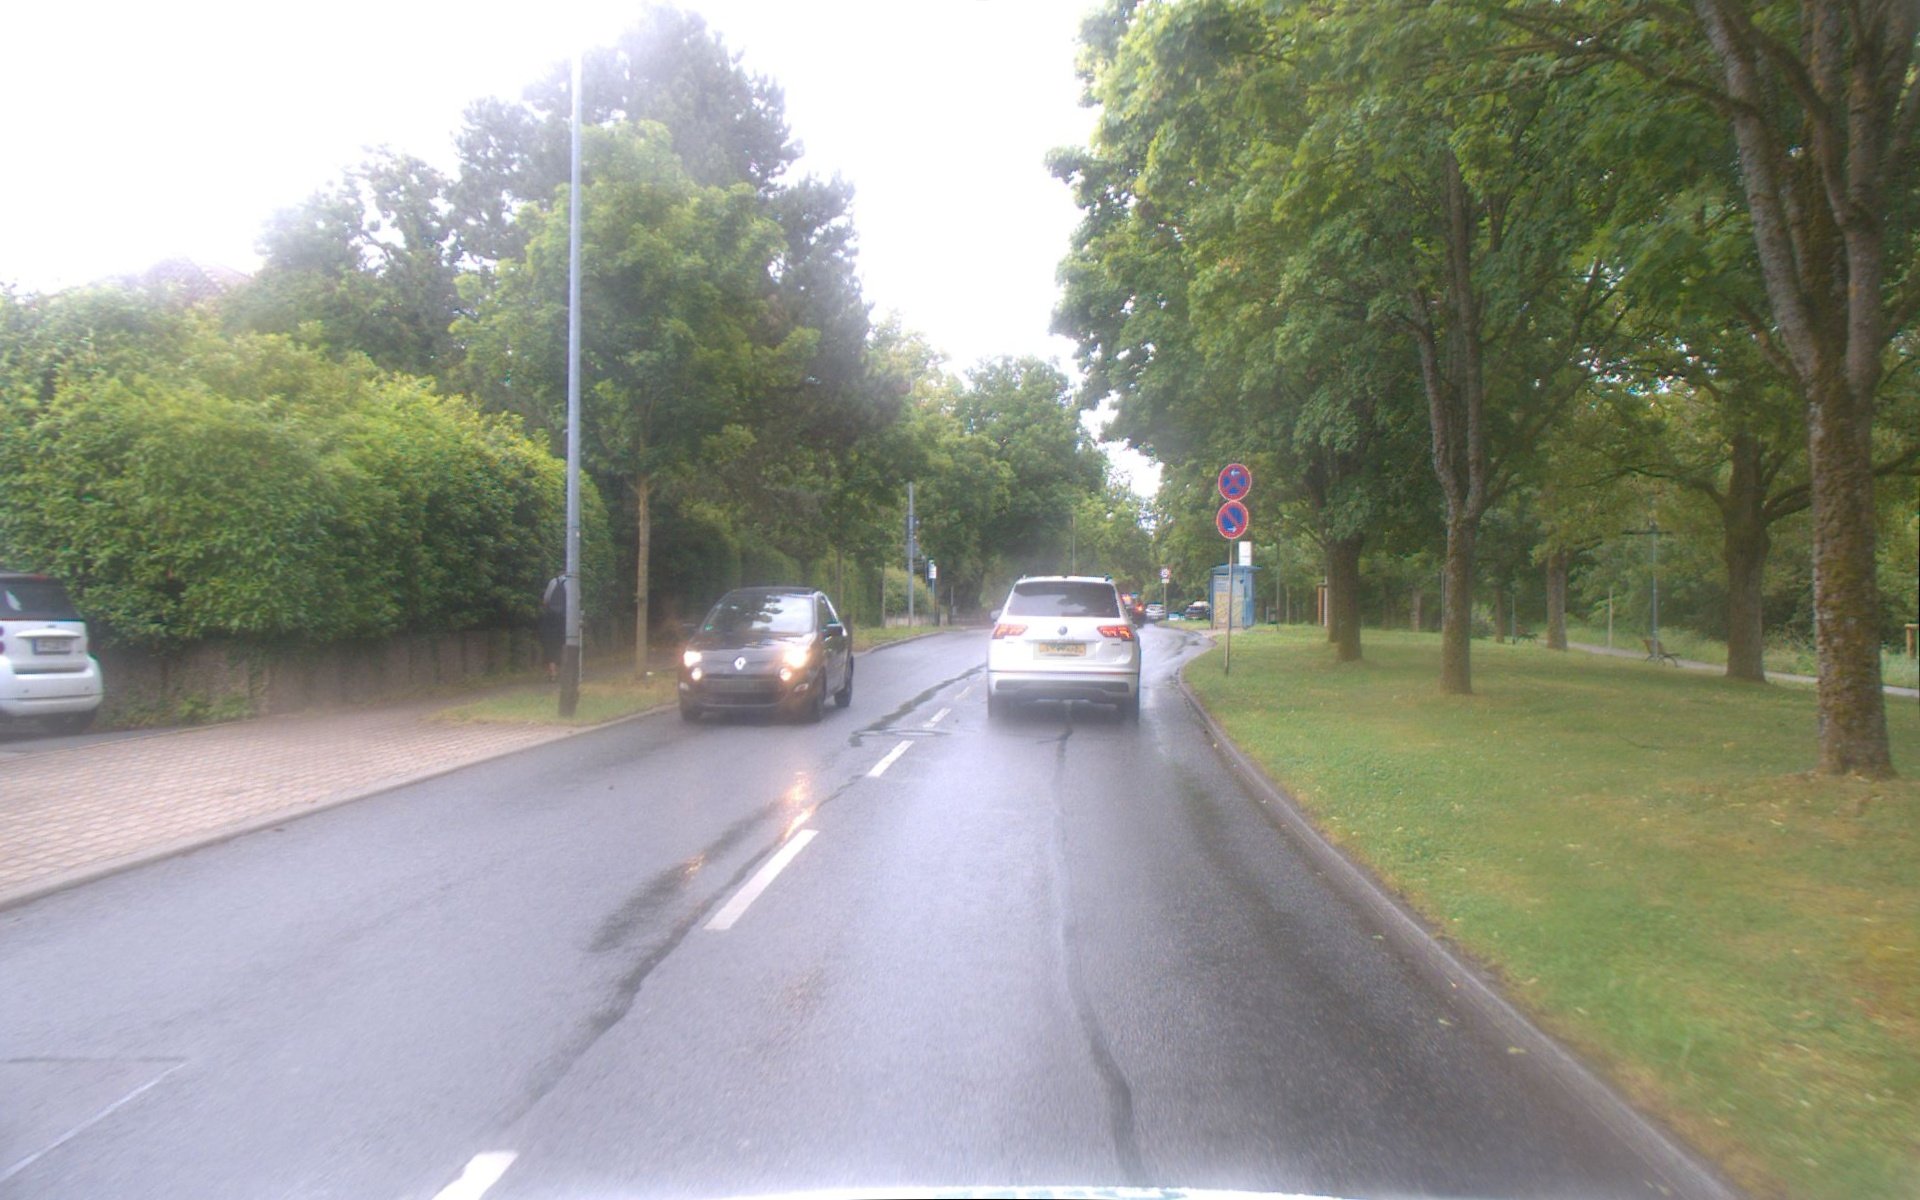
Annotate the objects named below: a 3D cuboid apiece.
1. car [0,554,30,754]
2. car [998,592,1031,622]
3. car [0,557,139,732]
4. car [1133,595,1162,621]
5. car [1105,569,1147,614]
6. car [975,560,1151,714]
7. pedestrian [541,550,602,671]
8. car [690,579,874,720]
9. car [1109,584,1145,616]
[{"bbox_3d":[-9.585,0.394,12.304,4.150,1.566,2.052,1,0,1],"label":"car"},{"bbox_3d":[3.608,0.469,109.076,1.952,1.793,4.001,2,-1,4],"label":"car"},{"bbox_3d":[-9.834,0.370,15.546,3.332,1.545,1.731,1,0,1],"label":"car"},{"bbox_3d":[14.286,0.600,126.008,1.952,1.836,4.001,2,-1,3],"label":"car"},{"bbox_3d":[8.092,-0.376,81.034,1.861,2.049,3.946,2,-1,4],"label":"car"},{"bbox_3d":[1.382,0.391,20.466,1.932,1.681,4.180,1,0,7],"label":"car"},{"bbox_3d":[-5.549,0.138,23.665,0.763,1.691,0.841,1,0,-10],"label":"pedestrian"},{"bbox_3d":[-2.031,0.515,19.856,1.550,1.503,3.898,0,1,4],"label":"car"},{"bbox_3d":[10.157,-0.006,100.619,1.952,1.790,4.001,2,-1,3],"label":"car"}]
